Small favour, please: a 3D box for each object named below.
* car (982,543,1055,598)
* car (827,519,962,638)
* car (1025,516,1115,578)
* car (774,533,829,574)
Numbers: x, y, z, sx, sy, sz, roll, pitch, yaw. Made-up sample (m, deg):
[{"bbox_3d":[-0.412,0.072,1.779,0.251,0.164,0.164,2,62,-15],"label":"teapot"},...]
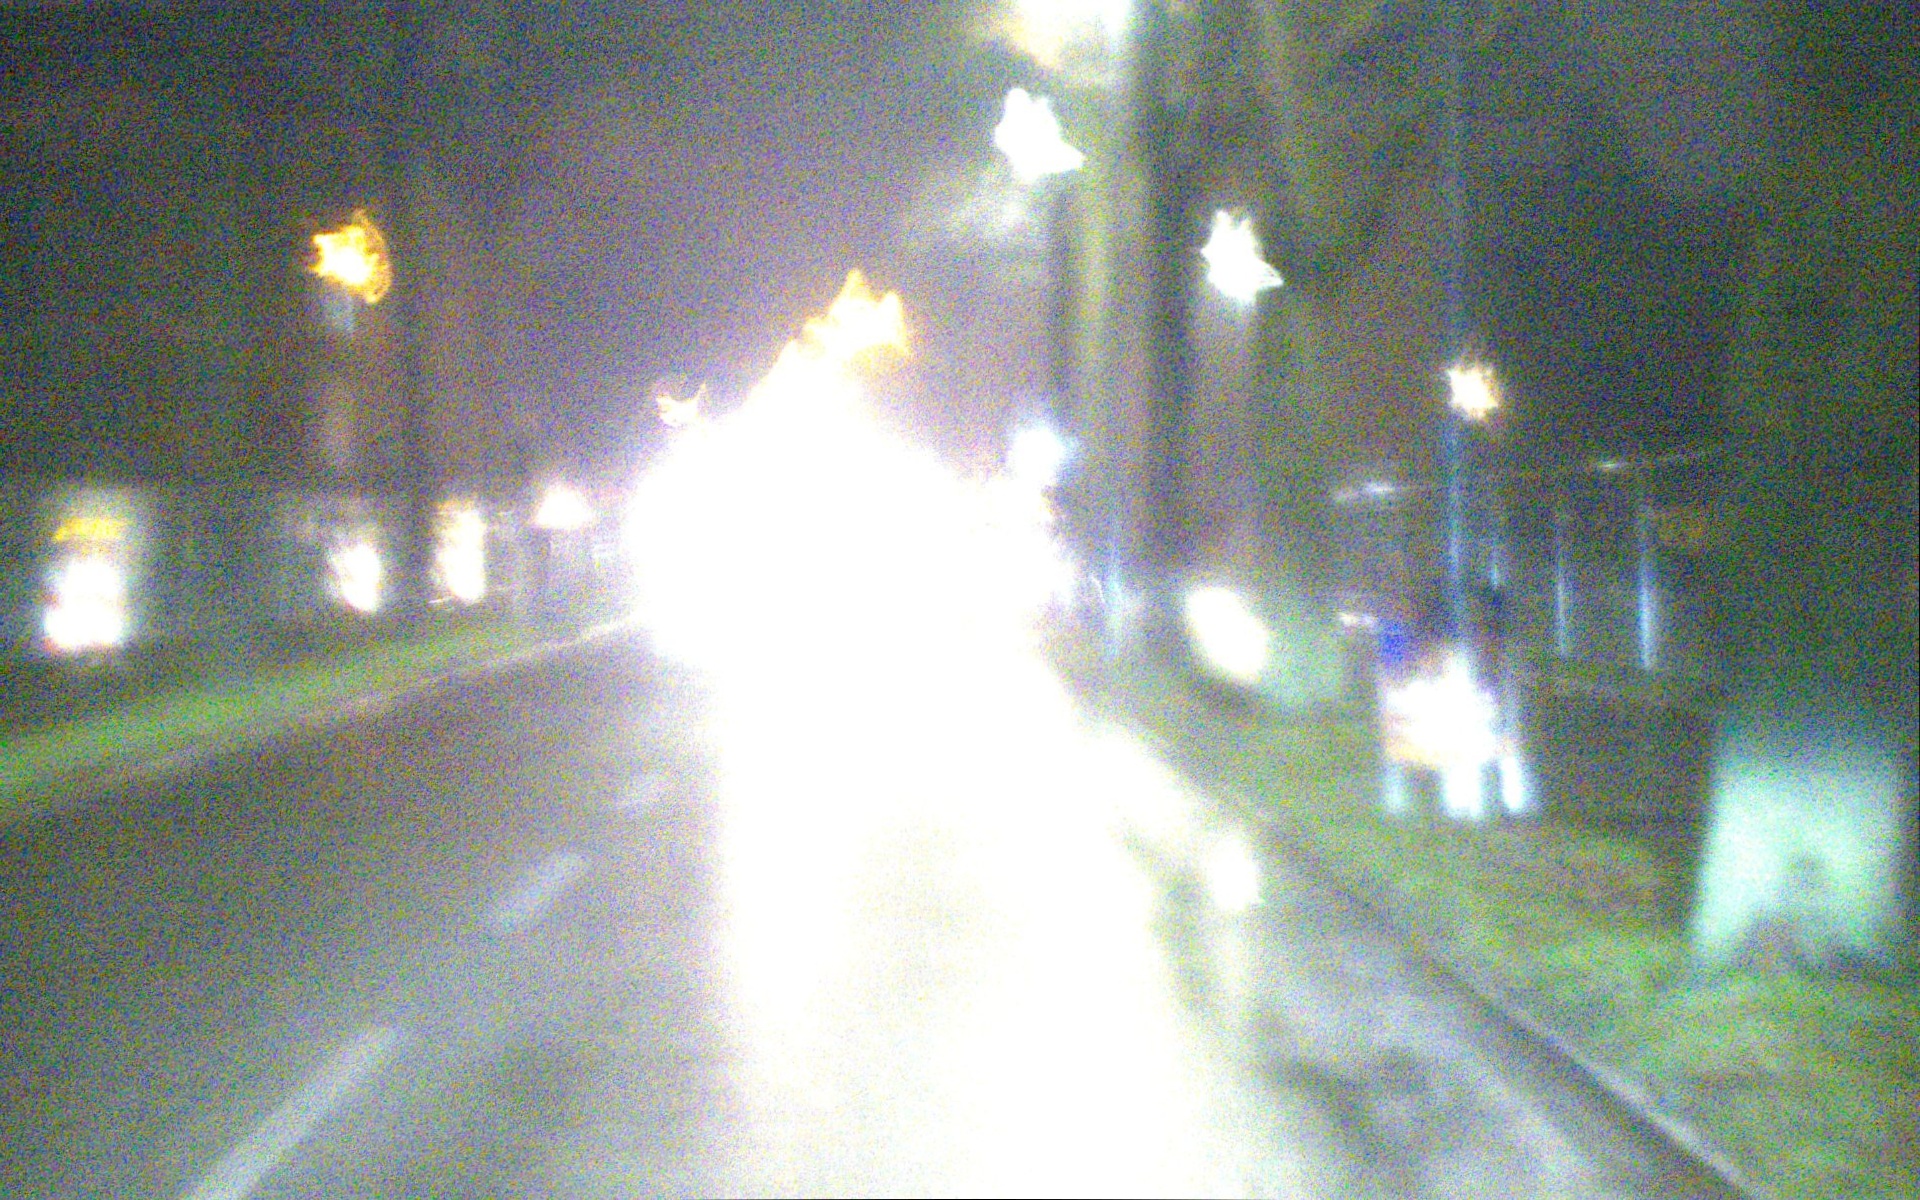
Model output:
[{"bbox_3d":[1.663,-0.873,99.016,1.713,1.483,4.437,-1,1,-4],"label":"car"},{"bbox_3d":[-1.021,-0.366,52.840,1.993,1.678,4.001,0,2,-2],"label":"car"},{"bbox_3d":[2.784,-1.380,88.089,1.789,1.444,4.792,-2,2,-4],"label":"car"},{"bbox_3d":[-5.669,-1.683,123.481,1.745,1.428,4.000,-1,1,0],"label":"car"}]
